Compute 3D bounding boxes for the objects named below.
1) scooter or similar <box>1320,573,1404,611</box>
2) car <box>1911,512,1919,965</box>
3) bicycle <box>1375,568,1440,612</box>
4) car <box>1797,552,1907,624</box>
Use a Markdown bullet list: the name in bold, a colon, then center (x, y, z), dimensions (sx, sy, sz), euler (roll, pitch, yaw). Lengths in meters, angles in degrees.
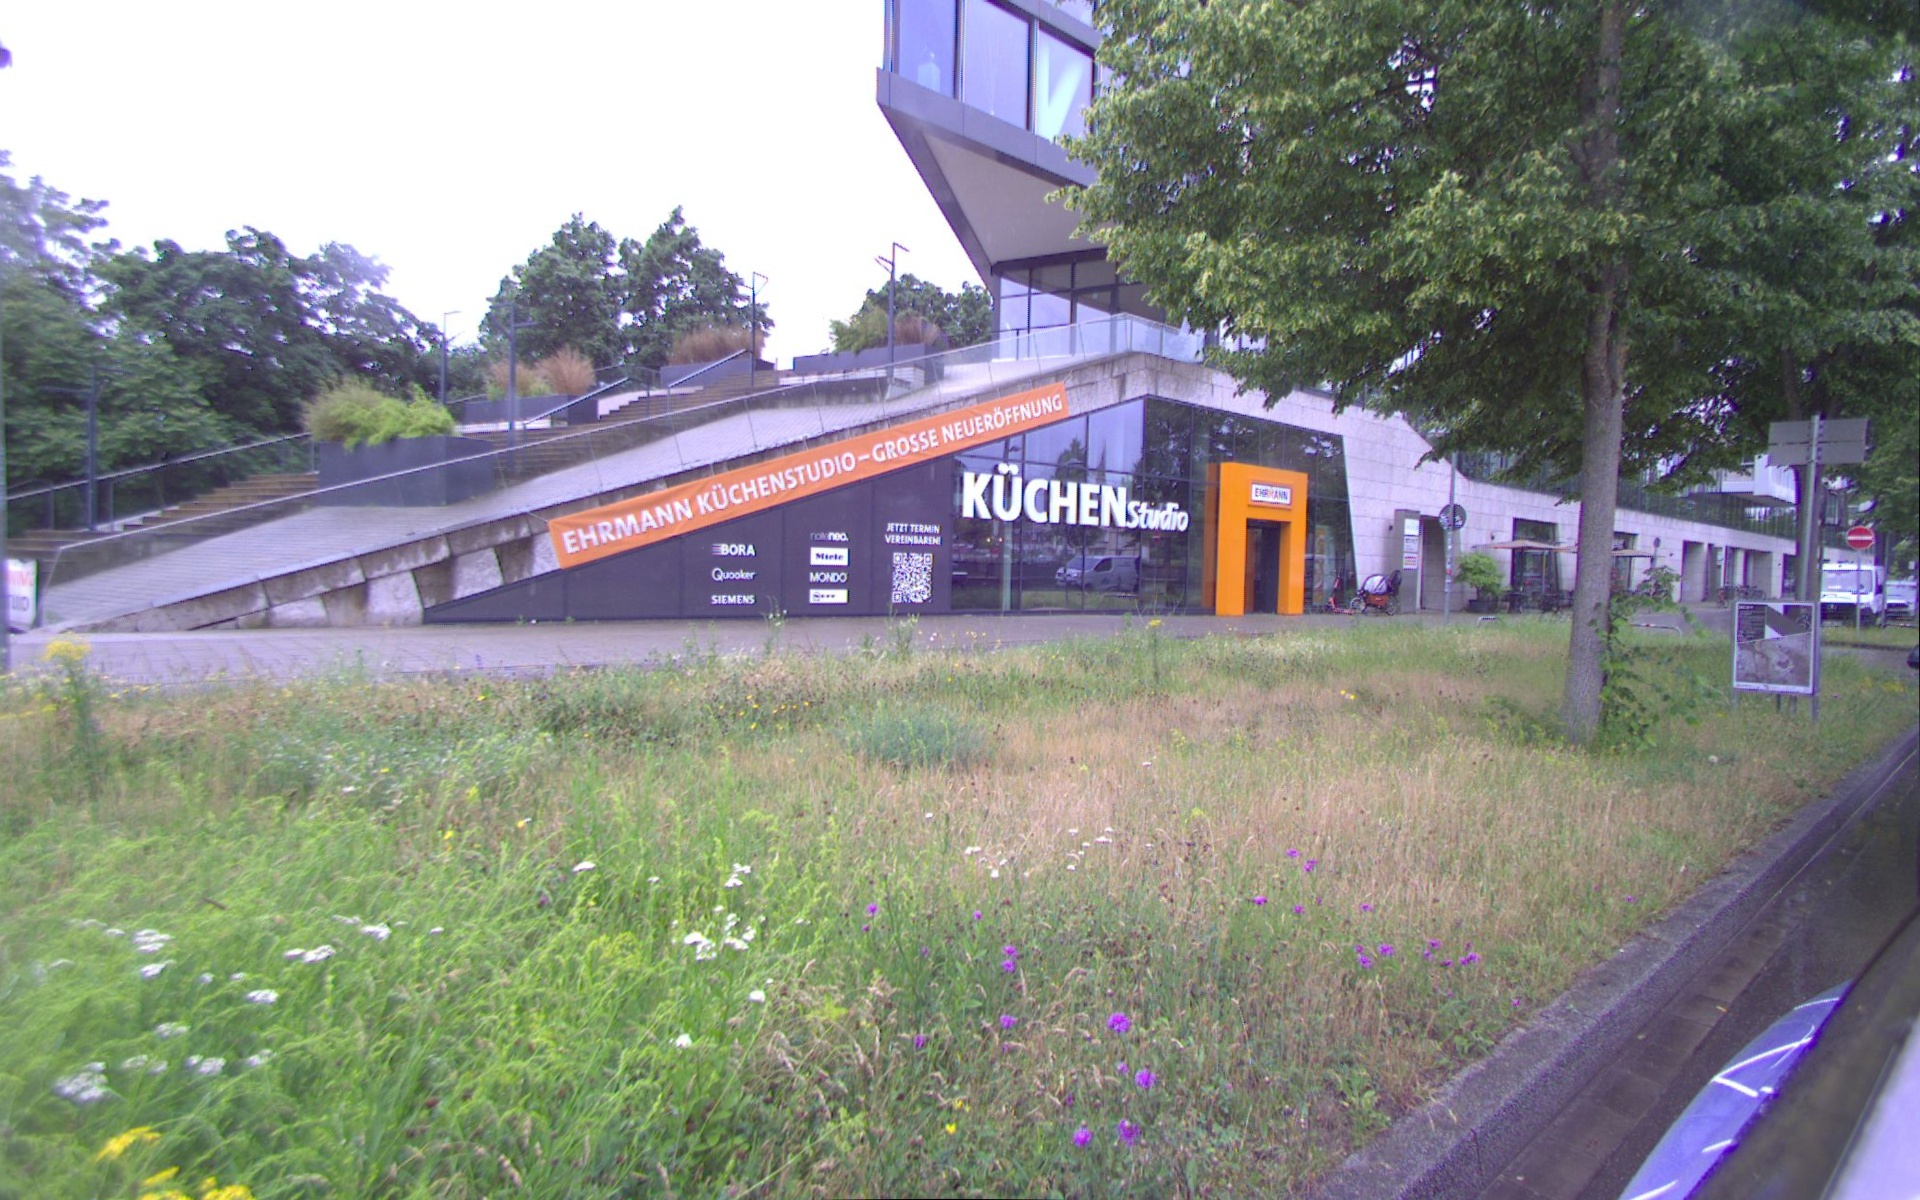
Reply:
- **scooter or similar**: center (12.324, -0.249, 31.005), dimensions (2.560, 1.113, 0.814), euler (0, 0, -23)
- **car**: center (5.980, 0.578, 4.658), dimensions (4.306, 1.769, 1.915), euler (1, -1, -41)
- **bicycle**: center (14.494, -0.335, 32.760), dimensions (2.650, 1.364, 0.882), euler (-1, 0, -41)
- **car**: center (29.662, -0.402, 33.606), dimensions (5.008, 2.229, 2.083), euler (-1, 0, -41)
